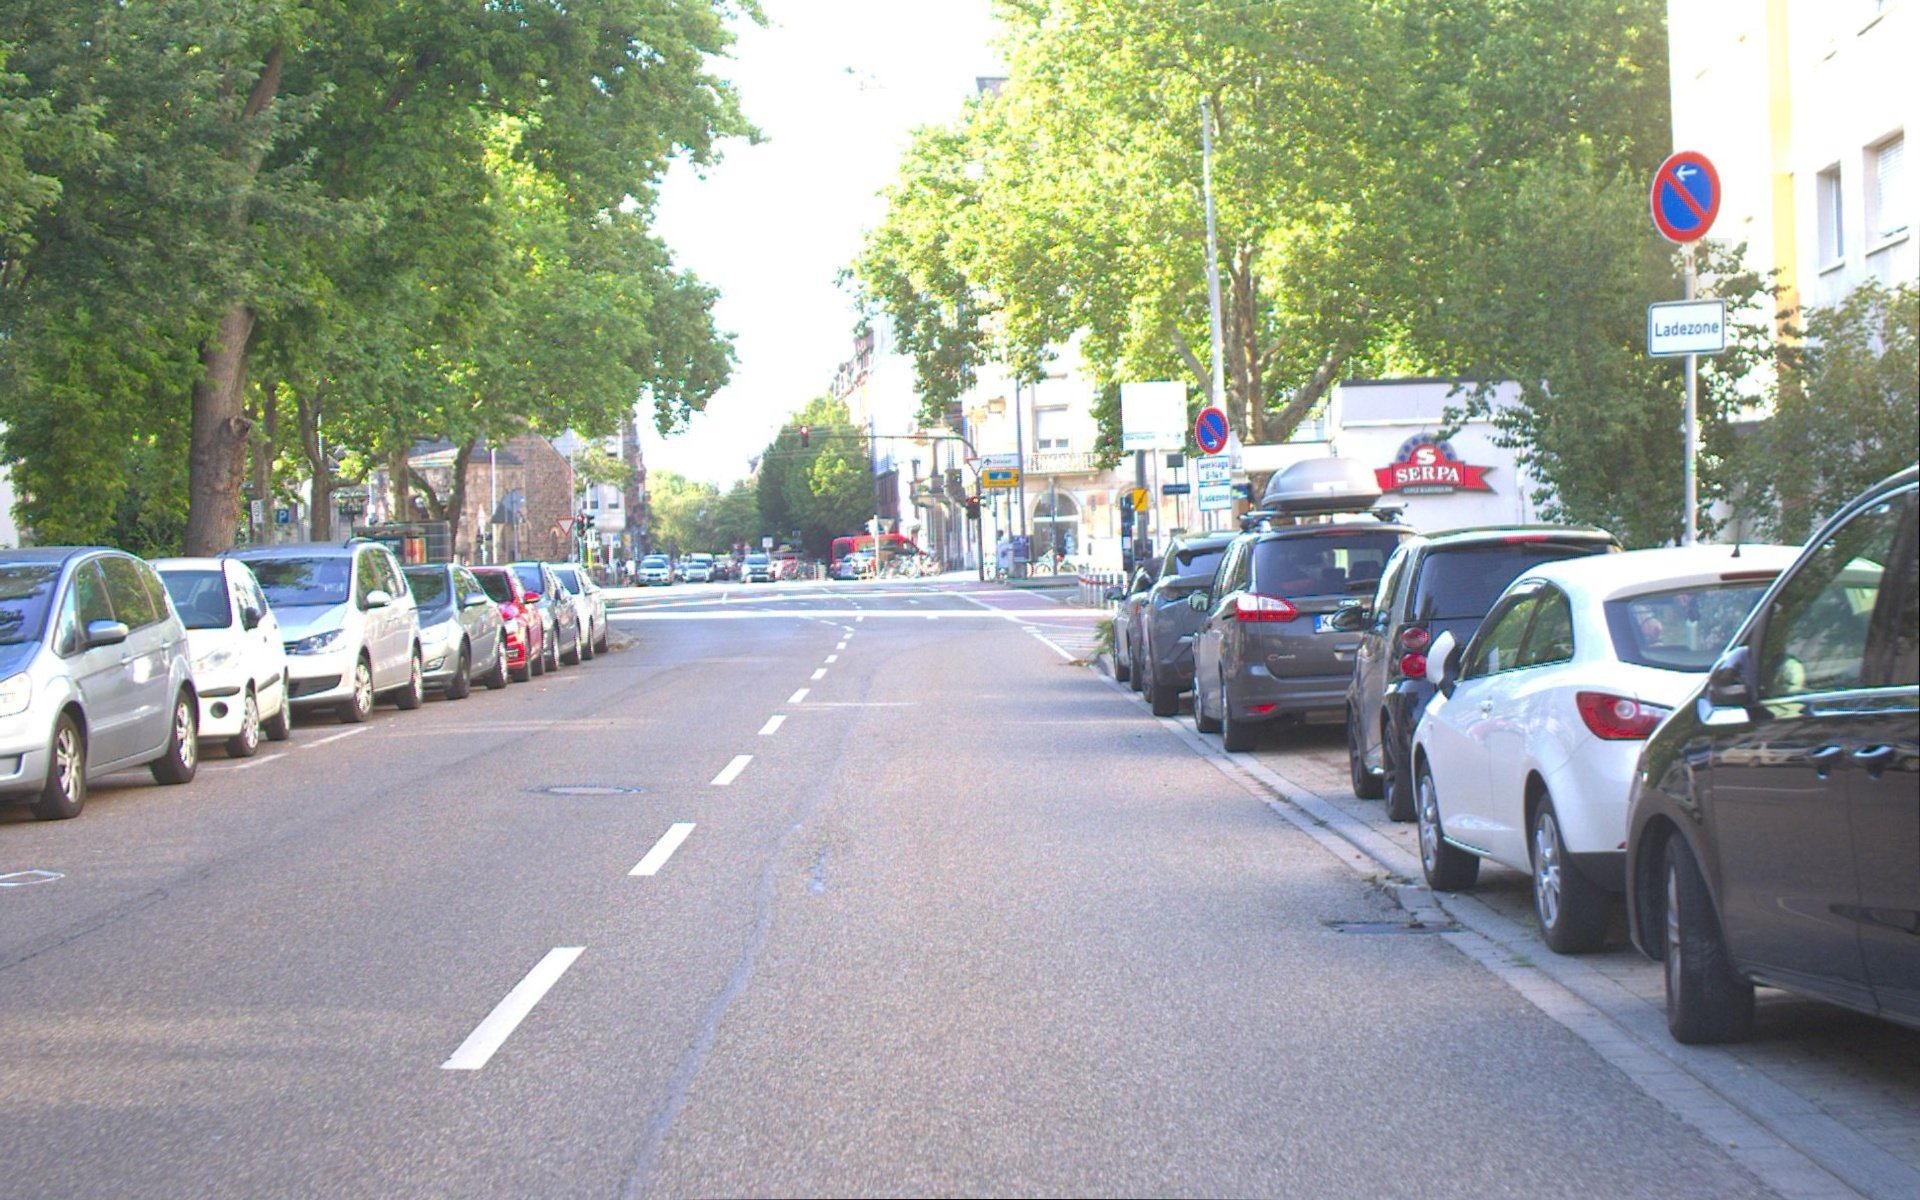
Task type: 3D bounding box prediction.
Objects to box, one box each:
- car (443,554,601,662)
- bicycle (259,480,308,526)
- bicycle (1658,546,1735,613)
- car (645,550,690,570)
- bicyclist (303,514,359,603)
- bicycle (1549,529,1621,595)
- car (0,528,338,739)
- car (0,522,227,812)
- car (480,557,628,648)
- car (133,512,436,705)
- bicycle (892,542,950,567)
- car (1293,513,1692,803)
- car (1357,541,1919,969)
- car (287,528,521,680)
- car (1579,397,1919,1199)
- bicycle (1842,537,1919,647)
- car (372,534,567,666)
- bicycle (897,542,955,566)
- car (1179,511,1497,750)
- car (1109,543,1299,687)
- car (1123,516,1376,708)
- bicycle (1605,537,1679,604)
[{"bbox_3d":[-6.047,0.105,47.869,1.703,1.435,4.129,0,0,-1],"label":"car"},{"bbox_3d":[-18.353,-2.629,93.376,0.718,1.141,3.292,0,0,-1],"label":"bicycle"},{"bbox_3d":[11.026,-0.318,51.506,0.636,0.922,2.230,0,2,-1],"label":"bicycle"},{"bbox_3d":[-17.424,-2.373,204.883,1.595,1.140,3.381,0,0,15],"label":"car"},{"bbox_3d":[-14.397,-0.939,78.662,0.976,2.007,0.796,0,0,35],"label":"bicyclist"},{"bbox_3d":[9.357,-0.582,51.526,0.636,0.922,2.230,0,2,-1],"label":"bicycle"},{"bbox_3d":[-6.261,0.248,27.446,1.870,1.553,4.101,0,0,0],"label":"car"},{"bbox_3d":[-6.011,0.388,21.079,1.871,1.553,5.057,-6,1,-1],"label":"car"},{"bbox_3d":[-6.243,0.037,53.246,1.769,1.348,4.711,0,0,-1],"label":"car"},{"bbox_3d":[-6.271,0.073,32.470,1.916,1.672,4.974,0,0,-1],"label":"car"},{"bbox_3d":[-1.942,-2.249,170.261,2.802,1.199,0.510,0,0,-7],"label":"bicycle"},{"bbox_3d":[2.978,0.302,19.975,1.605,1.489,4.042,-1,0,-1],"label":"car"},{"bbox_3d":[2.724,0.517,13.756,1.679,1.411,4.724,0,0,-1],"label":"car"},{"bbox_3d":[-6.010,0.041,37.640,1.870,1.553,4.497,0,0,-1],"label":"car"},{"bbox_3d":[3.032,0.396,8.522,2.024,1.744,4.767,-2,0,-1],"label":"car"},{"bbox_3d":[8.940,-0.075,32.816,0.612,1.018,1.833,0,0,2],"label":"bicycle"},{"bbox_3d":[-6.038,0.001,42.692,1.870,1.553,4.000,0,0,0],"label":"car"},{"bbox_3d":[-1.702,-2.303,171.857,2.802,1.199,0.517,0,0,-10],"label":"bicycle"},{"bbox_3d":[2.815,0.175,26.509,1.897,1.645,4.343,-1,1,-1],"label":"car"},{"bbox_3d":[2.596,0.152,37.406,1.740,1.468,4.000,0,0,-1],"label":"car"},{"bbox_3d":[2.626,0.104,32.233,1.927,1.653,4.678,0,0,-1],"label":"car"},{"bbox_3d":[10.215,-0.456,51.541,0.636,0.922,2.230,0,2,-1],"label":"bicycle"}]
